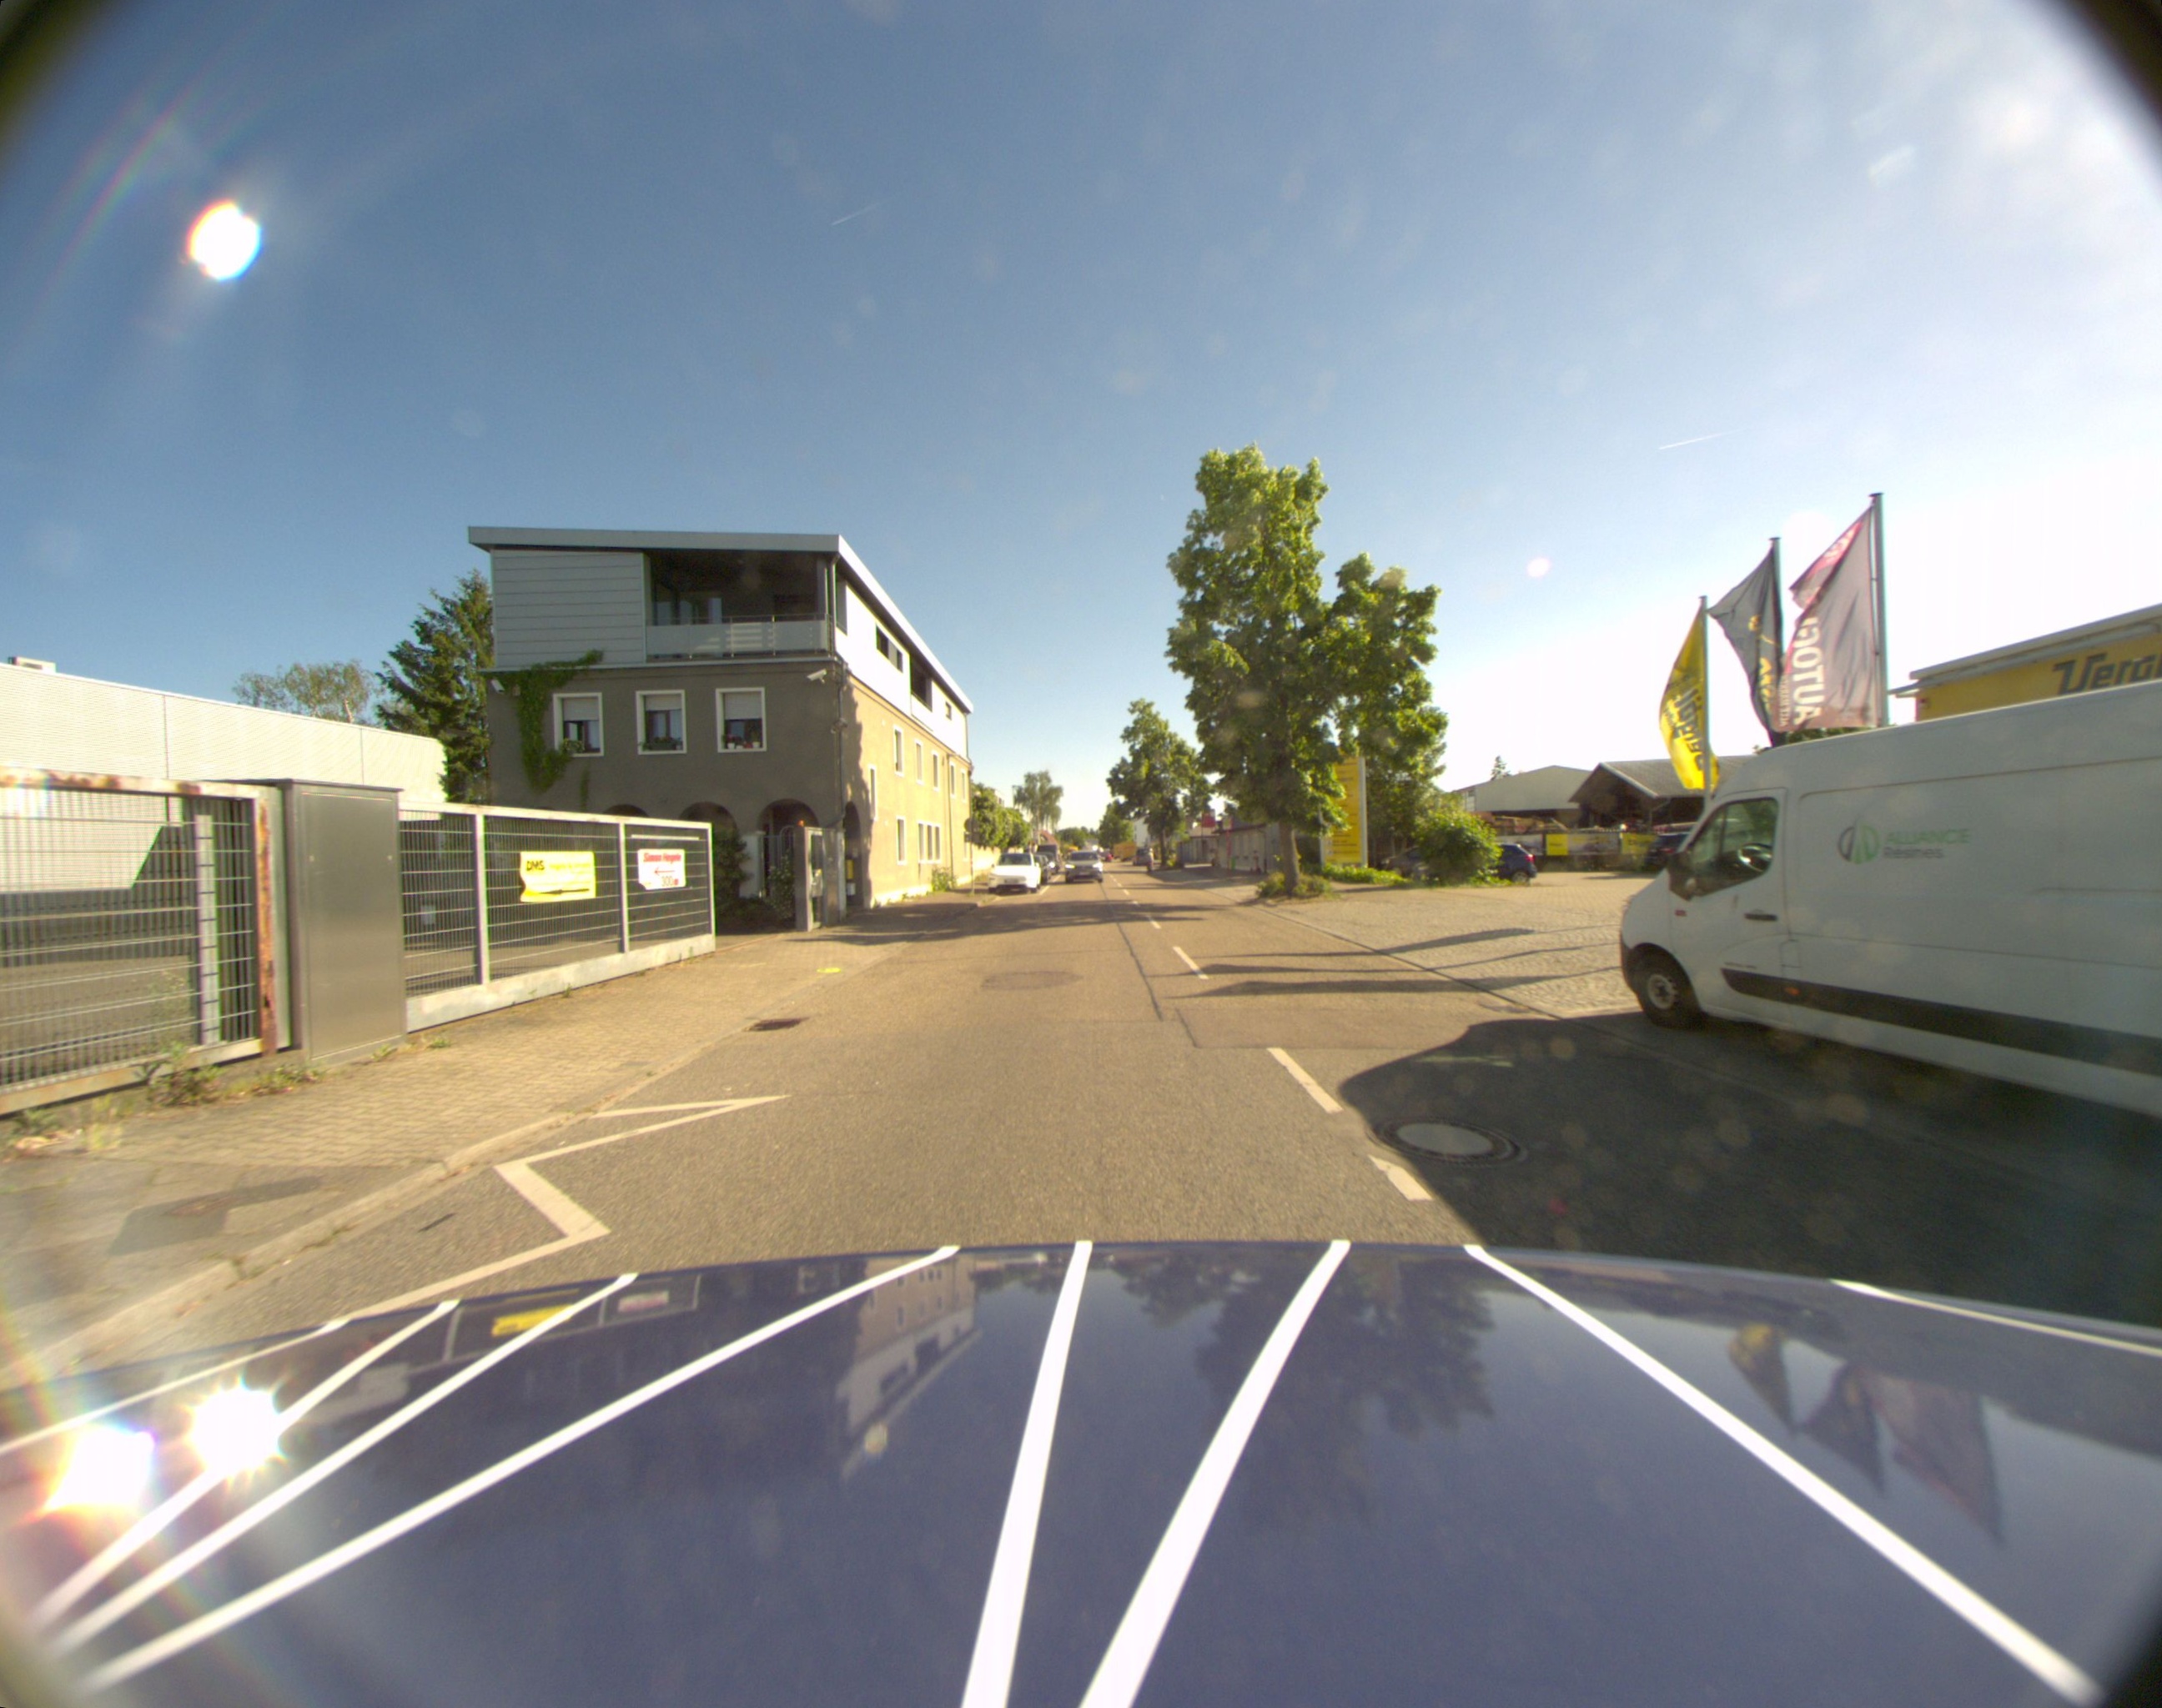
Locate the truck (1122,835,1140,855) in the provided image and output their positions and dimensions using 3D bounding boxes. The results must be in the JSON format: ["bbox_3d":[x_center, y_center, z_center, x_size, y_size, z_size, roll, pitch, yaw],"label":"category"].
[{"bbox_3d":[7.049,-1.297,108.155,2.173,2.698,5.748,-3,1,1],"label":"truck"}]

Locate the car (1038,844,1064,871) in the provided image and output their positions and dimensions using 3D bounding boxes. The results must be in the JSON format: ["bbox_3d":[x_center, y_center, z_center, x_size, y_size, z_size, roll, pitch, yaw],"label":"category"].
[{"bbox_3d":[-2.586,0.234,66.390,1.896,2.247,5.145,-1,1,1],"label":"car"}]

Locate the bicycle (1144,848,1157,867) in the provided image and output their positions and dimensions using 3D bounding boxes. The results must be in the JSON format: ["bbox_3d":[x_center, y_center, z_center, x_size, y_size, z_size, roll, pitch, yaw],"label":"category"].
[{"bbox_3d":[4.787,0.246,52.523,0.841,1.233,2.604,1,2,3],"label":"bicycle"}]

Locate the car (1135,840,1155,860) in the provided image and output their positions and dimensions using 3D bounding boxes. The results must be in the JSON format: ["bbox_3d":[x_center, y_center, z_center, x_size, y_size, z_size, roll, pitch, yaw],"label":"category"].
[{"bbox_3d":[6.427,-0.421,76.532,1.779,1.838,4.615,-4,1,3],"label":"car"}]

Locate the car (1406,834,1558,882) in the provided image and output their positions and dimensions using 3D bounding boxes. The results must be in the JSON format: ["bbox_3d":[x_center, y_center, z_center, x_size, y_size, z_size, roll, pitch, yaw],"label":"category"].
[{"bbox_3d":[13.903,0.126,26.647,4.351,1.499,2.002,-2,1,15],"label":"car"}]

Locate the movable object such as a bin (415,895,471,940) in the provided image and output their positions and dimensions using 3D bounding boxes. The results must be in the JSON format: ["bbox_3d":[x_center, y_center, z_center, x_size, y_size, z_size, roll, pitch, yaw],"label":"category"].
[{"bbox_3d":[-14.973,1.480,17.842,0.616,0.967,0.749,-2,3,1],"label":"movable object such as a bin"}]

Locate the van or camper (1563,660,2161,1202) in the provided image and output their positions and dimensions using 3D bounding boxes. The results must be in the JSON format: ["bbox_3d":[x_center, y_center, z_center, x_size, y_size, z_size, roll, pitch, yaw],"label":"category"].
[{"bbox_3d":[6.025,0.275,4.512,2.076,2.534,6.403,-6,1,0],"label":"van or camper"}]

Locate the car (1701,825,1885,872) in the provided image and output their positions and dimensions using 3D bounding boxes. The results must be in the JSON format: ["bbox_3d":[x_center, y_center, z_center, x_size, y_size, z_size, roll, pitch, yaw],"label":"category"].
[{"bbox_3d":[25.559,-0.182,27.457,4.450,1.499,2.002,-2,1,13],"label":"car"}]

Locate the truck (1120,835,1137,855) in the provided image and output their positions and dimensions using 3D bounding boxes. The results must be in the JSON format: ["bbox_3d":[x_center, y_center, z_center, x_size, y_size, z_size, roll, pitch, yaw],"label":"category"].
[{"bbox_3d":[7.158,-1.337,114.995,2.145,2.857,5.749,-3,1,1],"label":"truck"}]

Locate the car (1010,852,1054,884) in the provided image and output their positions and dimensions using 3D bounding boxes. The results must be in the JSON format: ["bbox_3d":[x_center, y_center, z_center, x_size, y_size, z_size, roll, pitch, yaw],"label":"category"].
[{"bbox_3d":[-2.435,0.678,38.414,1.602,1.464,4.190,-1,1,4],"label":"car"}]

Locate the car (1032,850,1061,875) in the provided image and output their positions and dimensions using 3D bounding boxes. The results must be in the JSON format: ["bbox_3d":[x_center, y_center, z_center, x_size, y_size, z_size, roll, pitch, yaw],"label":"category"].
[{"bbox_3d":[-2.416,0.545,53.591,1.686,1.604,4.204,-3,1,1],"label":"car"}]

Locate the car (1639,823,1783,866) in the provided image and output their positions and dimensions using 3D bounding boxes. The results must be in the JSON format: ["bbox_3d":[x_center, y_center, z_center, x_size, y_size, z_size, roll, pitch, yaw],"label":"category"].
[{"bbox_3d":[26.995,-0.416,32.713,4.325,1.646,2.002,-2,1,13],"label":"car"}]

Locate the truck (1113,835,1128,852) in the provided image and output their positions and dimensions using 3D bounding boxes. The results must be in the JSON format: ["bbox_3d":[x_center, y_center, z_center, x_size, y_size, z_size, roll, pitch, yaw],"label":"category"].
[{"bbox_3d":[7.625,-2.013,146.123,2.286,3.012,5.909,-7,1,1],"label":"truck"}]

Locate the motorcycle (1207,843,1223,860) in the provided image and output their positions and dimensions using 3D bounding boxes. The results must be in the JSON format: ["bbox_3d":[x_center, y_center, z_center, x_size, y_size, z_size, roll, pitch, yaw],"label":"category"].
[{"bbox_3d":[10.294,-0.222,58.309,0.701,1.226,2.539,-4,1,0],"label":"motorcycle"}]

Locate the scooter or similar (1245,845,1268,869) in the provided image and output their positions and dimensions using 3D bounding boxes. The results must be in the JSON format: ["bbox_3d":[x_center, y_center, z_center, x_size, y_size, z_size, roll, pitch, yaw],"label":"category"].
[{"bbox_3d":[9.515,0.135,41.263,0.484,1.263,1.576,-3,1,-17],"label":"scooter or similar"}]

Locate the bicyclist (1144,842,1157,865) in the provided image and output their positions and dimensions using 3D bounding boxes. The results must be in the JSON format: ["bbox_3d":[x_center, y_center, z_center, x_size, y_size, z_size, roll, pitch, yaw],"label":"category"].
[{"bbox_3d":[4.797,-0.051,52.506,0.841,1.534,1.136,1,2,3],"label":"bicyclist"}]

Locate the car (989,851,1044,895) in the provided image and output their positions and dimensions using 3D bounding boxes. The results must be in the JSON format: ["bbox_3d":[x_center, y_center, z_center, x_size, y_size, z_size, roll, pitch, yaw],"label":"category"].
[{"bbox_3d":[-2.603,0.728,31.599,1.937,1.635,4.768,-1,1,-1],"label":"car"}]

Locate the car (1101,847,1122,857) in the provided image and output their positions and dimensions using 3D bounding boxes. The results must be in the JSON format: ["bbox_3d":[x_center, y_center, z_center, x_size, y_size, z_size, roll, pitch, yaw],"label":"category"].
[{"bbox_3d":[4.125,-0.290,101.837,1.872,1.412,4.535,0,1,16],"label":"car"}]

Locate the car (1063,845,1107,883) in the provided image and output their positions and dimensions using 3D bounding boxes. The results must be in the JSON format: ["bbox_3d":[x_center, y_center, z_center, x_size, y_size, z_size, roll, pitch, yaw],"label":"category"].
[{"bbox_3d":[0.199,0.450,38.551,1.998,1.750,5.015,-3,0,0],"label":"car"}]

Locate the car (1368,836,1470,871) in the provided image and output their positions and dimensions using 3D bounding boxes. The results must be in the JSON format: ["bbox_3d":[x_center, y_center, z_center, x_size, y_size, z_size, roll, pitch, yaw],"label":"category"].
[{"bbox_3d":[15.897,-0.030,35.907,4.067,1.507,1.774,-2,1,6],"label":"car"}]
